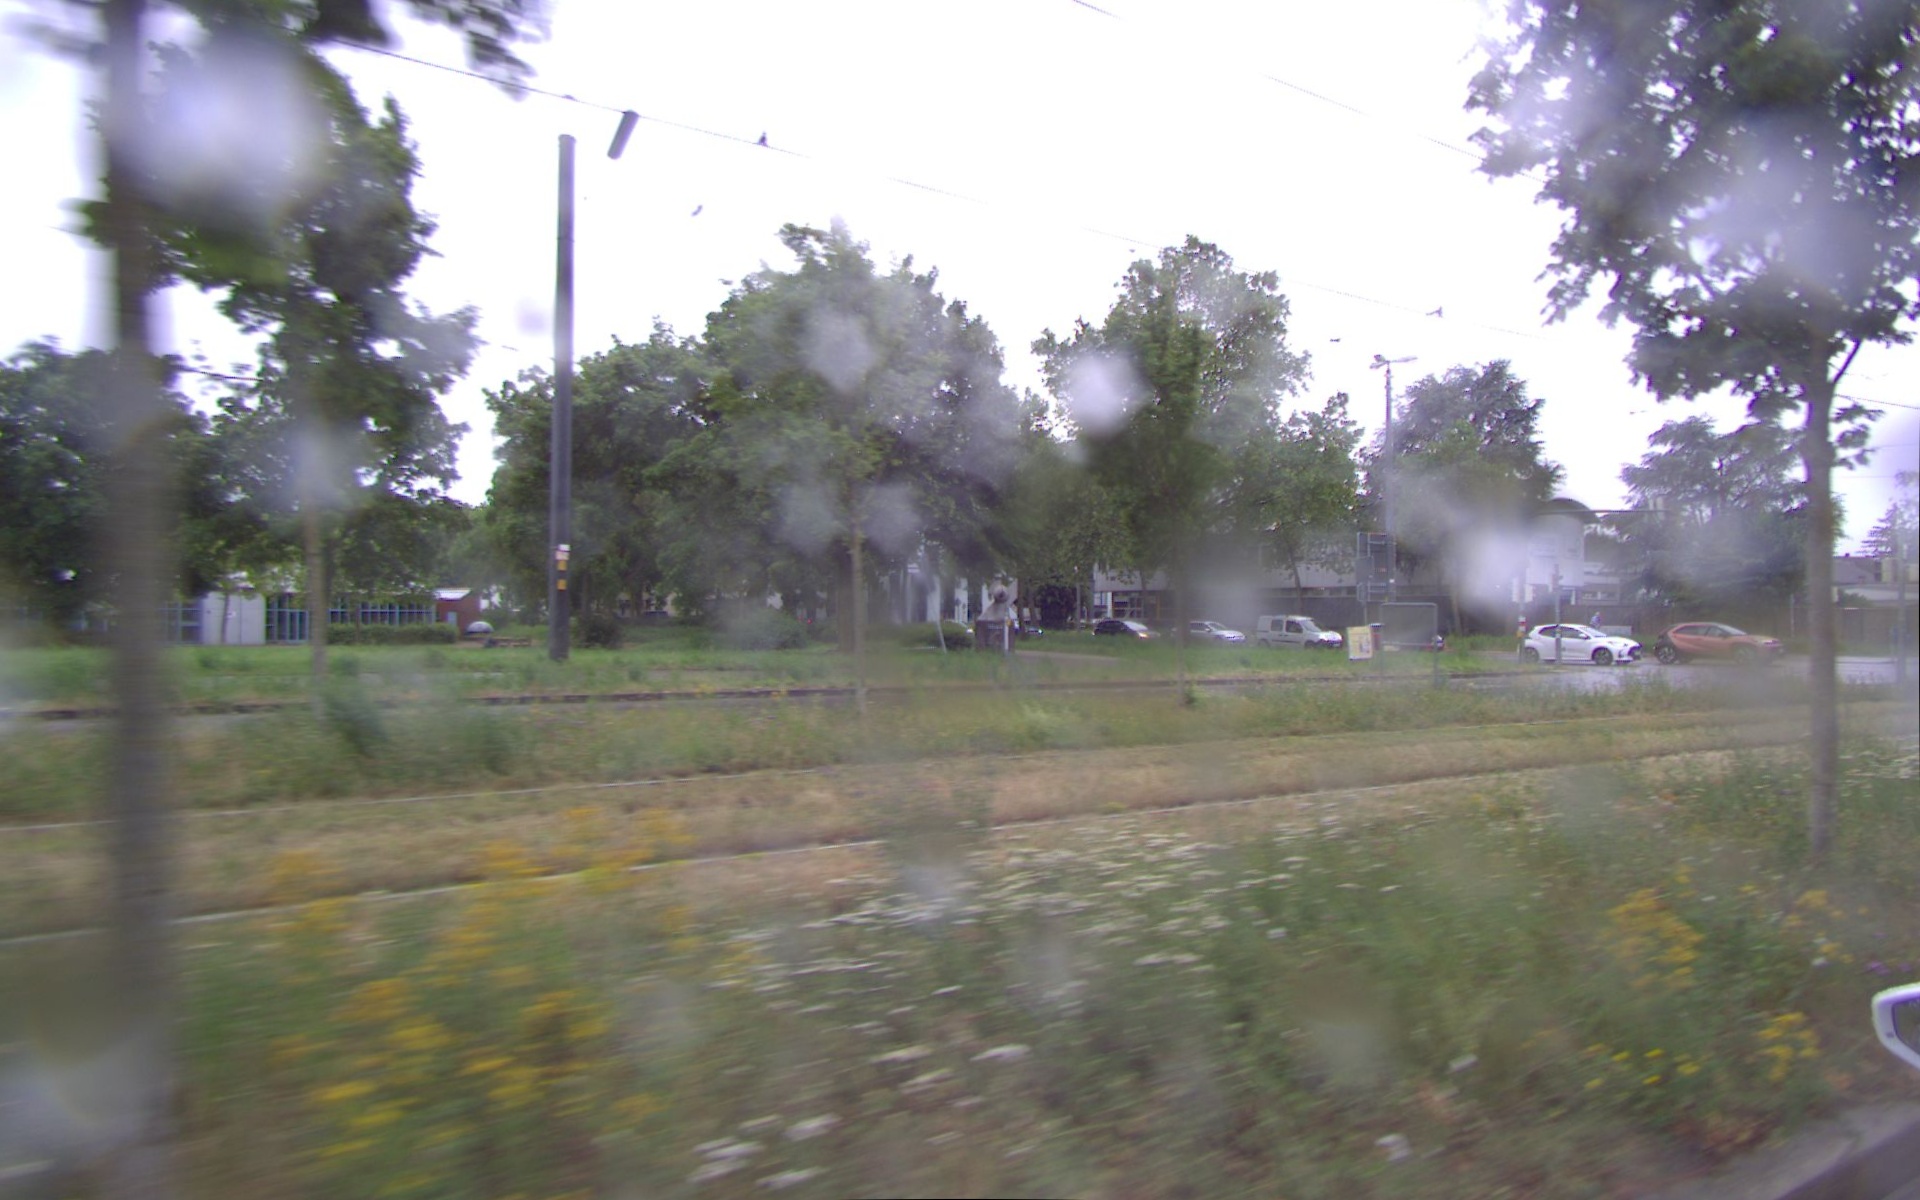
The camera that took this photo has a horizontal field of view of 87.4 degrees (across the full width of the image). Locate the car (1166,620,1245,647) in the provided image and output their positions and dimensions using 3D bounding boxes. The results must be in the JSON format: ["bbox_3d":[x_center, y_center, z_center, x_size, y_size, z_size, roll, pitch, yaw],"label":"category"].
[{"bbox_3d":[13.782,1.891,56.657,1.636,1.475,4.327,2,-2,-35],"label":"car"}]

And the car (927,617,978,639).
[{"bbox_3d":[-0.541,1.941,69.782,1.636,1.413,3.791,2,-2,-35],"label":"car"}]

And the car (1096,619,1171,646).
[{"bbox_3d":[9.754,1.811,56.808,1.636,1.475,4.327,2,-2,-35],"label":"car"}]

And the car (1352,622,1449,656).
[{"bbox_3d":[20.663,1.798,47.216,1.638,1.519,3.876,0,0,-39],"label":"car"}]

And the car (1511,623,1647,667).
[{"bbox_3d":[22.964,1.639,37.411,1.634,1.518,4.042,2,-2,-33],"label":"car"}]

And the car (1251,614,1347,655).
[{"bbox_3d":[16.069,1.606,47.816,1.636,1.820,4.180,0,0,-36],"label":"car"}]

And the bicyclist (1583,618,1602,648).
[{"bbox_3d":[36.578,1.889,58.084,0.634,1.705,0.681,1,-2,-28],"label":"bicyclist"}]

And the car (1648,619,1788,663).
[{"bbox_3d":[27.714,1.484,36.822,1.634,1.518,3.796,2,-2,-33],"label":"car"}]
